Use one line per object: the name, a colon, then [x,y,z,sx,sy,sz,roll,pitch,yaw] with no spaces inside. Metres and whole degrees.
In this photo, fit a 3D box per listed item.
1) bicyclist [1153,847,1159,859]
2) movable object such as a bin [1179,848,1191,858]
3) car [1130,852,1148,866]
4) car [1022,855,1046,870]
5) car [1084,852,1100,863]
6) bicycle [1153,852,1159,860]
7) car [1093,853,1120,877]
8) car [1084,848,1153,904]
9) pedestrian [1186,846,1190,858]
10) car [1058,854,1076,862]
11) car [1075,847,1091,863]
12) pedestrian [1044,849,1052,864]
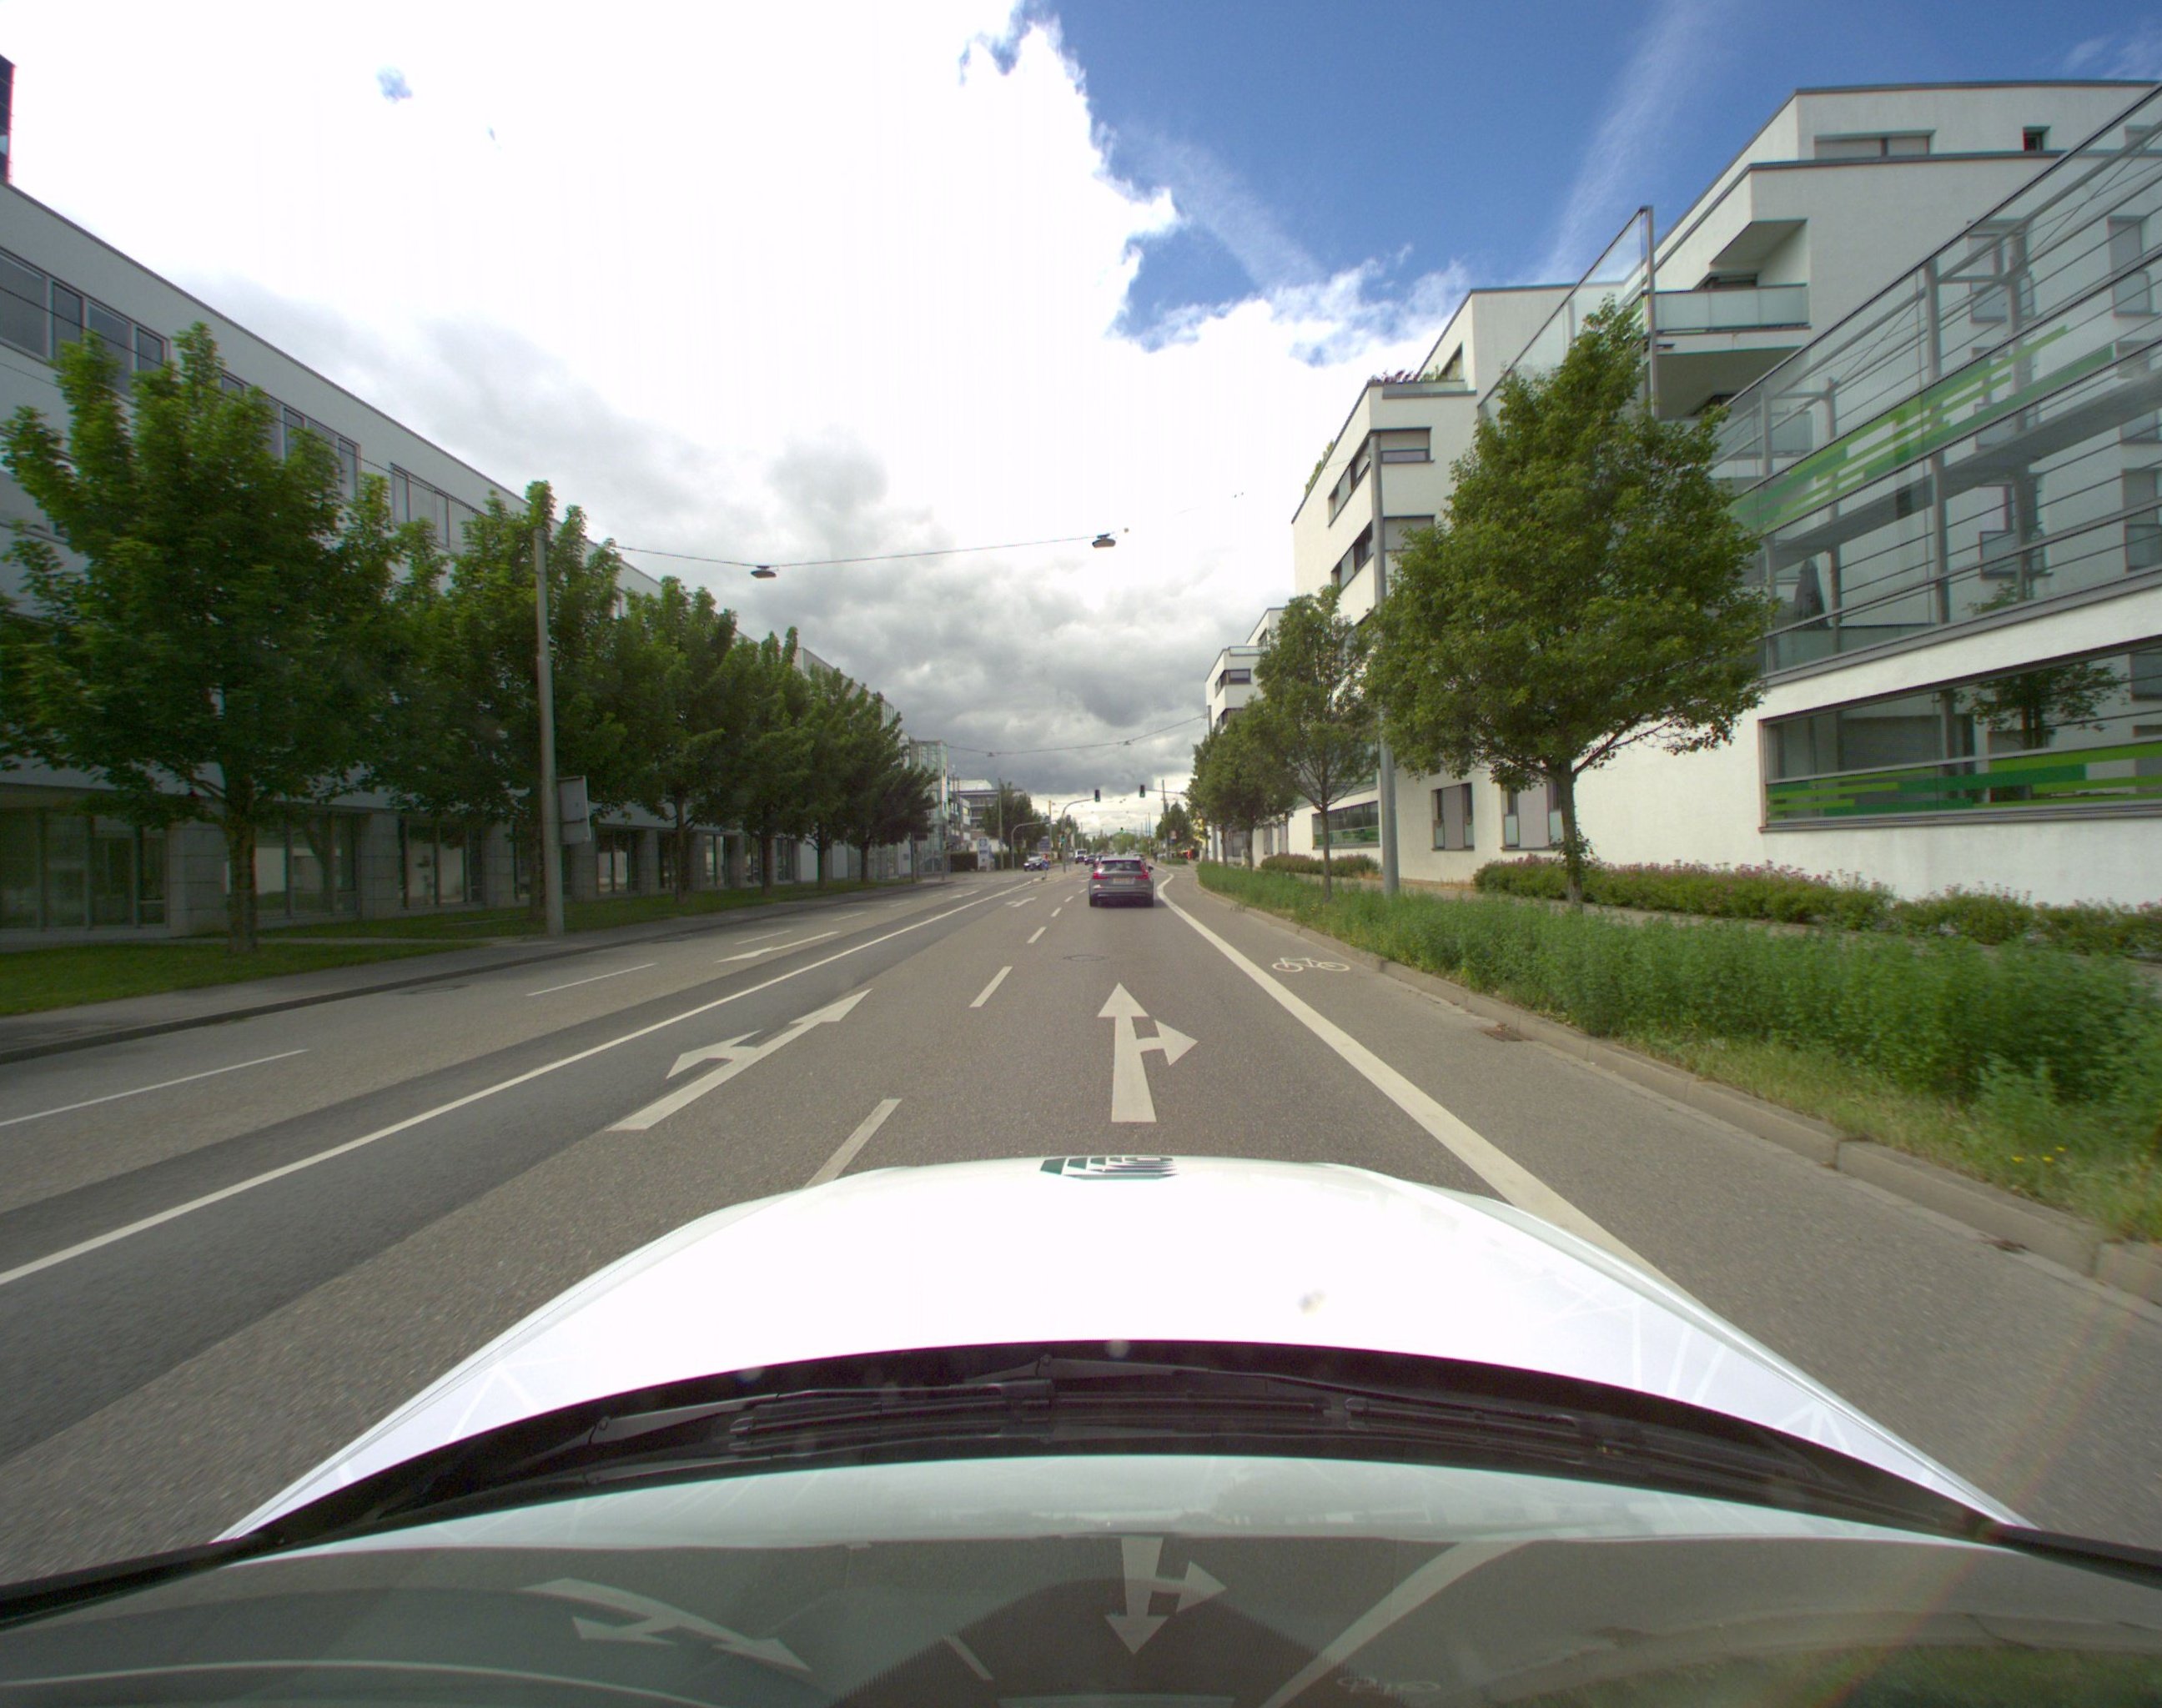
bicyclist: [10.720,-0.177,116.680,0.635,1.675,0.891,-5,0,3]
movable object such as a bin: [16.443,-0.156,128.906,1.306,1.435,1.259,-3,-2,40]
car: [6.762,0.602,95.335,1.985,1.695,4.002,0,-1,3]
car: [-4.923,0.929,86.211,2.017,1.445,5.051,-3,-1,1]
car: [1.609,0.521,115.768,1.876,1.552,4.547,-3,-1,6]
bicycle: [10.748,0.269,116.511,0.635,1.063,1.979,-5,0,4]
car: [1.863,0.801,60.289,1.986,1.717,4.000,0,-1,1]
car: [1.214,0.640,24.663,1.886,1.554,4.006,0,-1,5]
pedestrian: [16.670,-0.311,126.801,0.503,1.765,0.503,0,-1,19]
car: [-3.295,0.893,189.772,4.086,1.397,1.905,-7,1,-4]
car: [0.351,0.198,138.665,2.133,2.471,6.079,-3,0,4]
pedestrian: [-4.481,0.383,109.516,0.815,2.014,0.717,1,-1,-44]
